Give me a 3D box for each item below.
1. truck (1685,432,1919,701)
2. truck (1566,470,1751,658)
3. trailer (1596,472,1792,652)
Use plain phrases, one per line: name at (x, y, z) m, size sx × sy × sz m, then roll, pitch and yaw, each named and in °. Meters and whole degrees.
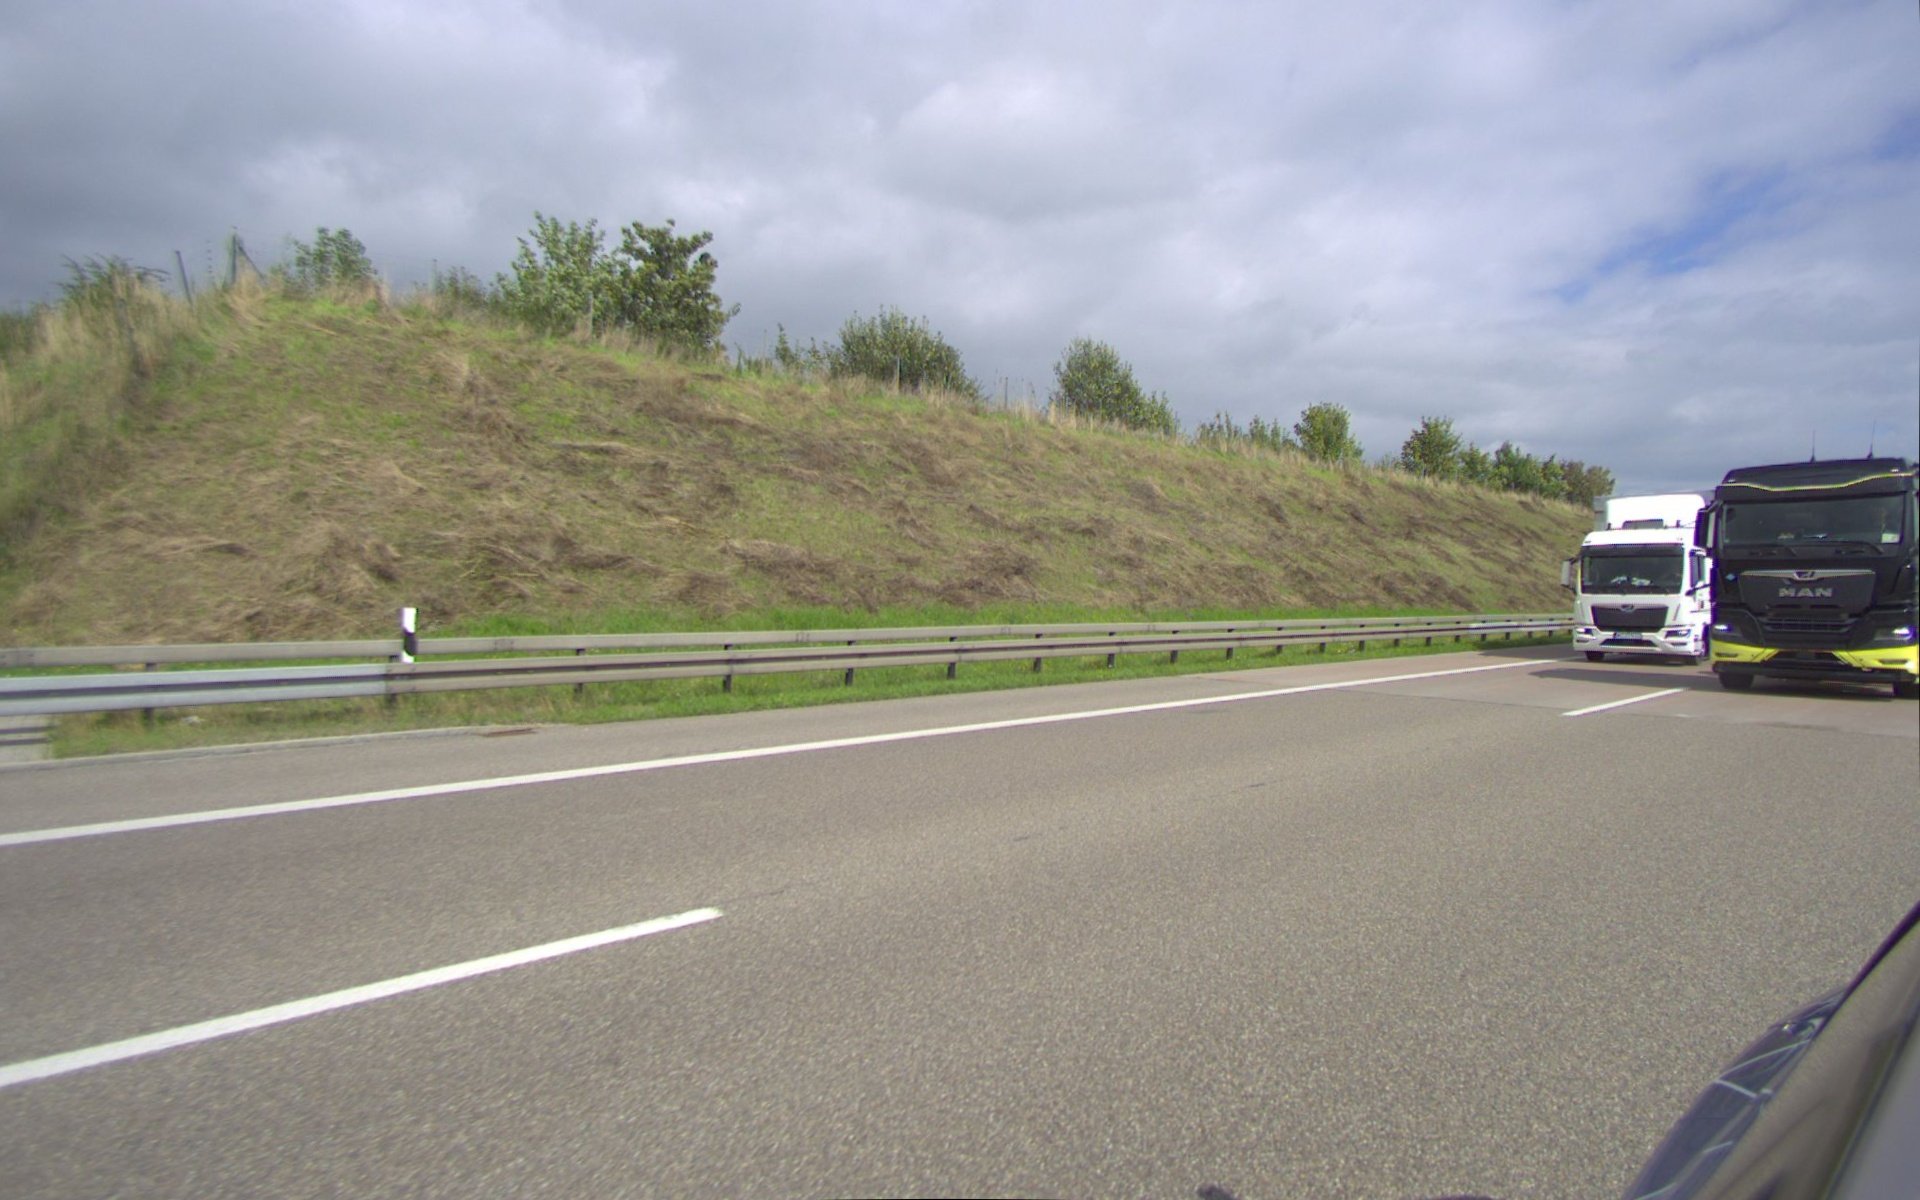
truck at (14.990, -0.488, 17.232) m, size 8.181 × 3.594 × 2.850 m, roll -1°, pitch 0°, yaw -44°
truck at (16.424, -0.778, 23.716) m, size 4.470 × 3.941 × 2.751 m, roll 0°, pitch 0°, yaw -44°
trailer at (19.689, -0.909, 26.886) m, size 8.527 × 4.062 × 2.750 m, roll -1°, pitch 0°, yaw -44°
